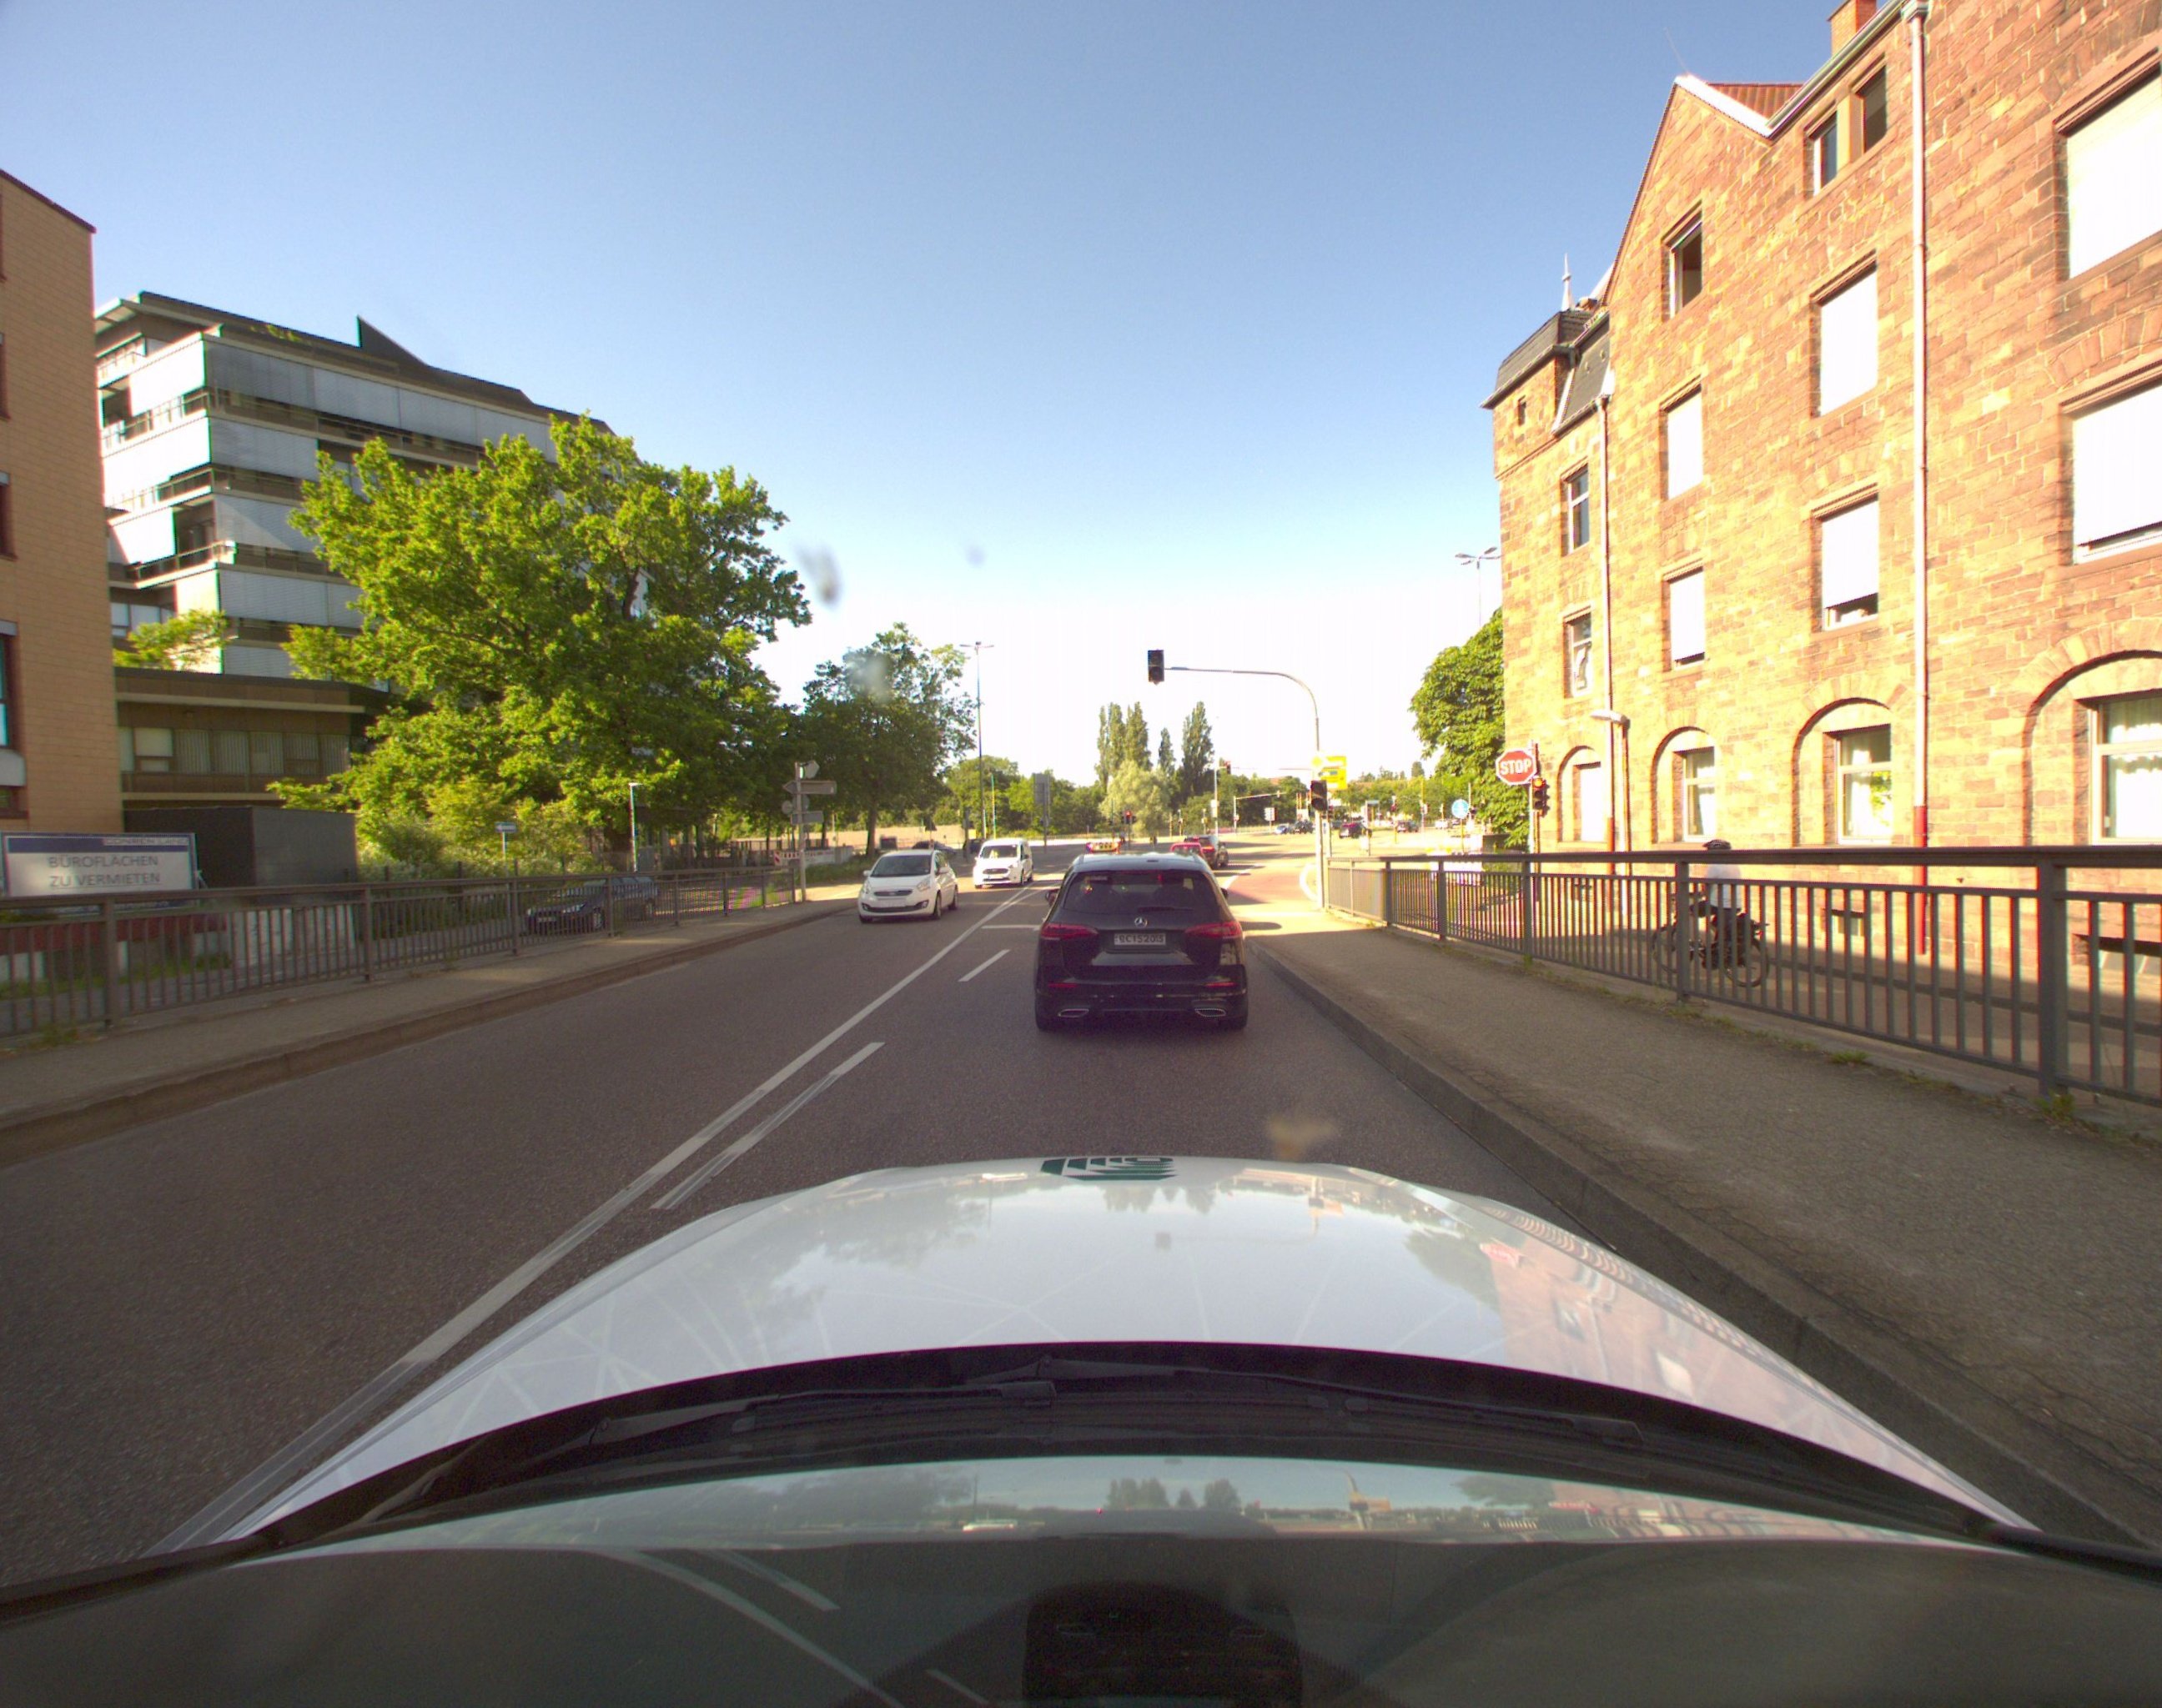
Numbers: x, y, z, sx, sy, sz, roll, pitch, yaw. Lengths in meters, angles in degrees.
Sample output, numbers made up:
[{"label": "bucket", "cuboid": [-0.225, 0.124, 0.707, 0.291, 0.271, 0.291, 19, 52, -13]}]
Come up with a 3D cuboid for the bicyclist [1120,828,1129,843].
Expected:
[{"label": "bicyclist", "cuboid": [4.513, -1.910, 85.130, 0.804, 1.551, 0.526, -3, 1, -9]}]

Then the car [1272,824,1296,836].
[{"label": "car", "cuboid": [29.082, -3.415, 116.814, 1.860, 1.578, 4.026, -1, 2, 37]}]

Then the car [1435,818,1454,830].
[{"label": "car", "cuboid": [51.211, -4.276, 114.659, 1.866, 1.629, 4.026, -1, 1, 32]}]

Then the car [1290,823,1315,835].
[{"label": "car", "cuboid": [30.727, -3.476, 112.984, 1.860, 1.578, 4.026, -1, 2, 37]}]

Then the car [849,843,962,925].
[{"label": "car", "cuboid": [-4.067, 0.614, 19.498, 1.772, 1.635, 3.999, -3, 1, 0]}]

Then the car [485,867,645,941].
[{"label": "car", "cuboid": [-14.431, 1.328, 23.075, 1.845, 1.692, 4.001, -2, 1, 1]}]

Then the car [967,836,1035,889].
[{"label": "car", "cuboid": [-3.002, 0.247, 31.724, 1.910, 1.794, 4.901, -3, 1, 2]}]

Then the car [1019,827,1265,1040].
[{"label": "car", "cuboid": [0.503, 0.597, 8.237, 1.871, 1.613, 4.001, -1, 0, 1]}]

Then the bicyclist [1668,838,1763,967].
[{"label": "bicyclist", "cuboid": [8.181, 0.603, 10.521, 0.684, 1.608, 0.696, 0, 1, -2]}]

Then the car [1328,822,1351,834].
[{"label": "car", "cuboid": [36.991, -3.769, 116.479, 1.860, 1.578, 4.026, -1, 2, 37]}]

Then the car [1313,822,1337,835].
[{"label": "car", "cuboid": [33.364, -3.524, 111.355, 1.860, 1.578, 4.026, -1, 2, 37]}]

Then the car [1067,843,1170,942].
[{"label": "car", "cuboid": [0.720, 0.618, 15.201, 1.633, 1.529, 3.477, -3, 1, 3]}]

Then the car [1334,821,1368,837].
[{"label": "car", "cuboid": [28.977, -2.707, 87.324, 1.867, 1.629, 4.025, -1, 1, 42]}]

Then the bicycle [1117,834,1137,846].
[{"label": "bicycle", "cuboid": [4.760, -1.465, 85.186, 1.983, 1.050, 0.526, -3, 1, -9]}]

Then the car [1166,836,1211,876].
[{"label": "car", "cuboid": [4.847, 0.056, 36.347, 1.710, 1.521, 3.498, -1, 3, 12]}]

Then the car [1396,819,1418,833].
[{"label": "car", "cuboid": [40.654, -3.470, 101.479, 1.866, 1.629, 4.026, -1, 1, 30]}]

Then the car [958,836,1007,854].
[{"label": "car", "cuboid": [-9.651, -0.873, 79.587, 4.358, 1.629, 1.901, -2, 1, 23]}]

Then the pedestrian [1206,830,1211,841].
[{"label": "pedestrian", "cuboid": [18.684, -2.746, 119.511, 0.445, 1.585, 0.505, -2, 1, 42]}]

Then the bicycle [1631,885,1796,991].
[{"label": "bicycle", "cuboid": [8.183, 1.040, 10.658, 0.686, 1.140, 1.837, 0, 1, -2]}]

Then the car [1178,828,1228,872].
[{"label": "car", "cuboid": [6.315, -0.248, 41.799, 1.707, 1.811, 4.320, -2, 4, 19]}]

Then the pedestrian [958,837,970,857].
[{"label": "pedestrian", "cuboid": [-9.368, -0.550, 65.035, 0.700, 1.525, 0.746, -1, 0, 11]}]
